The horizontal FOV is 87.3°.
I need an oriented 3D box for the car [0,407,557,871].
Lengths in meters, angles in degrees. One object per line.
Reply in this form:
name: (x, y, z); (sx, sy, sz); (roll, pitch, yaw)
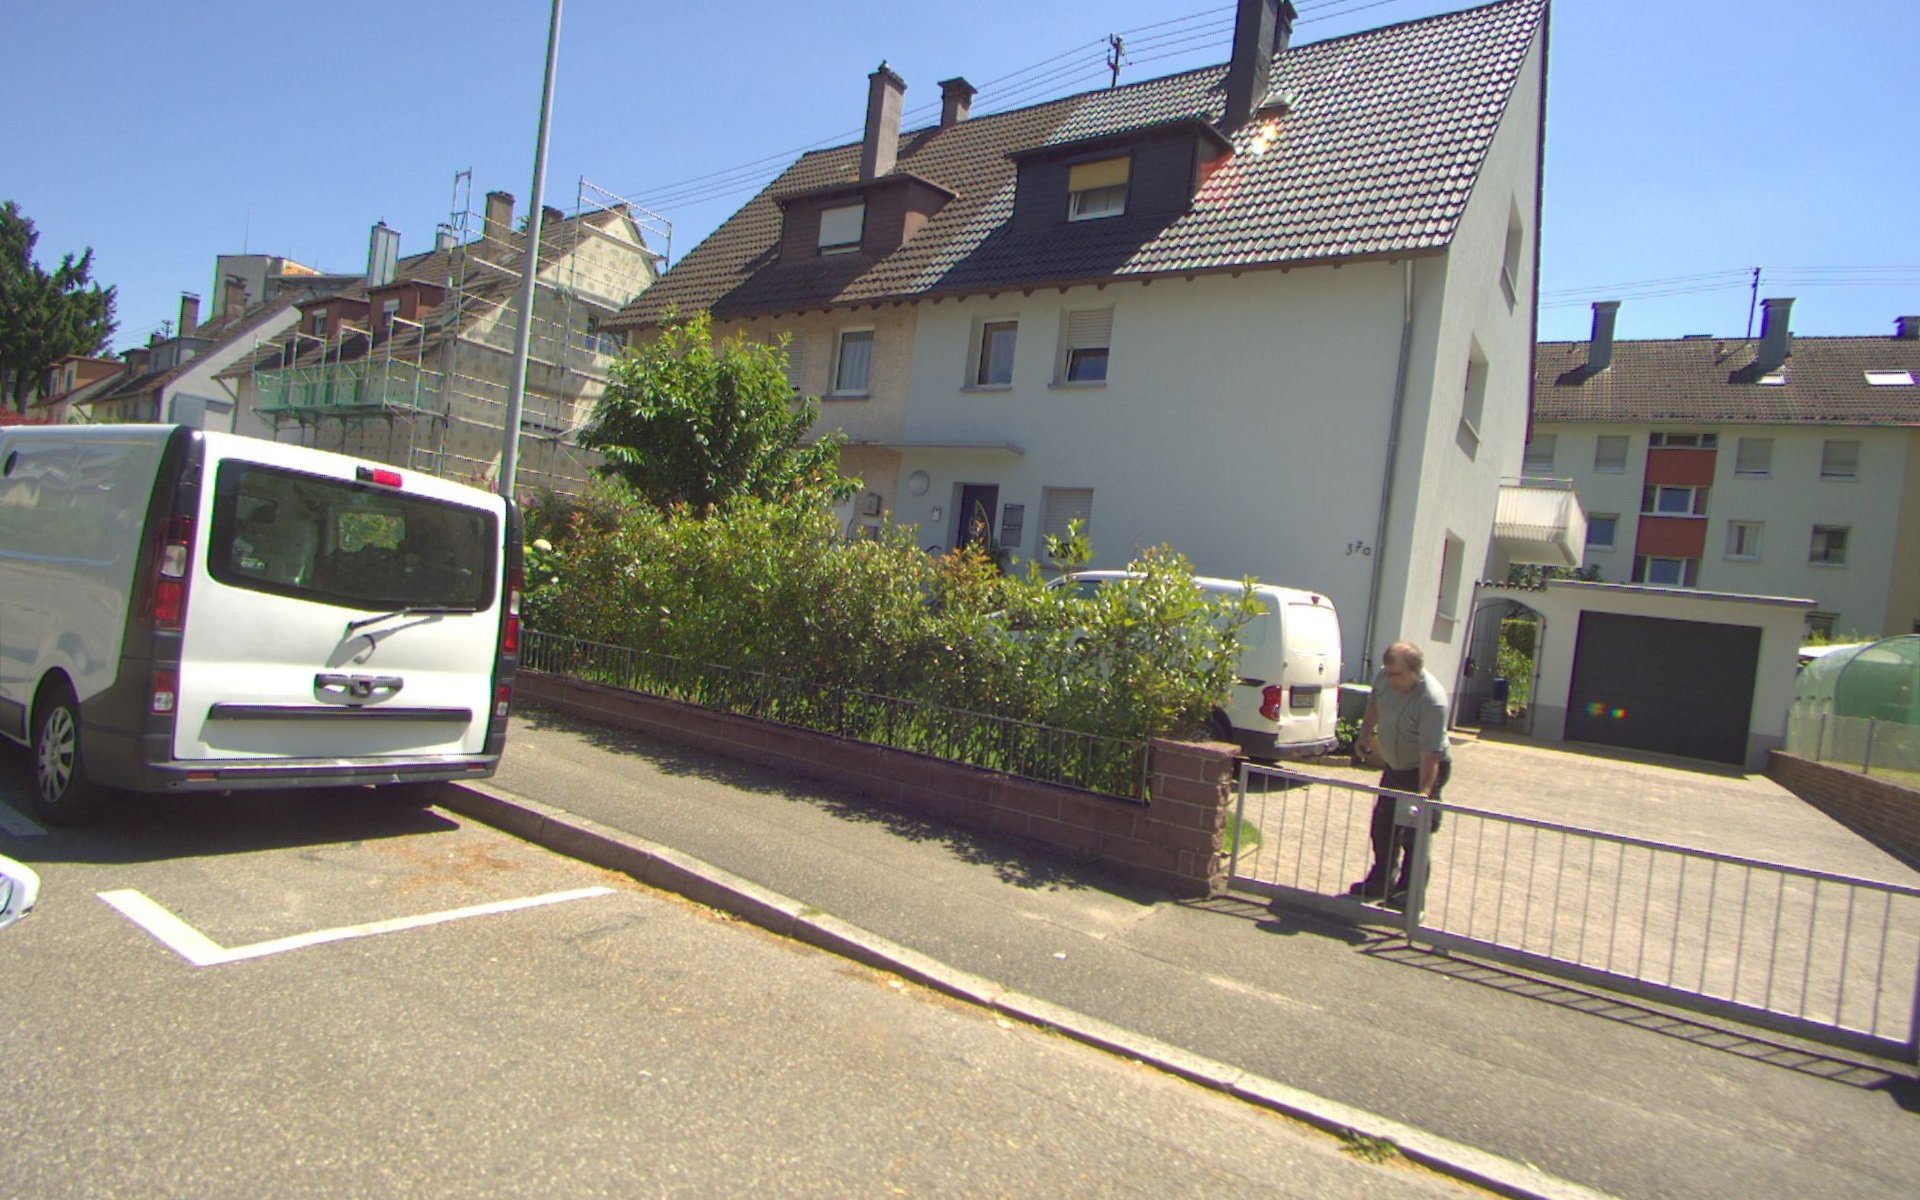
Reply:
car: (-4.891, 0.017, 6.245); (4.641, 1.948, 1.906); (7, -1, 32)

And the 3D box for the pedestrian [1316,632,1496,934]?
pedestrian: (2.598, 0.993, 5.833); (0.697, 1.537, 0.788); (7, 3, 32)

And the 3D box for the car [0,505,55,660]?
car: (-10.822, -0.389, 10.042); (3.936, 1.415, 1.658); (7, -1, 34)

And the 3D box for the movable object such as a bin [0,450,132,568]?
movable object such as a bin: (-25.449, -2.522, 28.007); (1.680, 2.779, 3.148); (7, -1, 35)

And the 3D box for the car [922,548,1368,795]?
car: (1.834, 0.602, 10.954); (4.336, 1.882, 1.741); (8, 3, 41)
